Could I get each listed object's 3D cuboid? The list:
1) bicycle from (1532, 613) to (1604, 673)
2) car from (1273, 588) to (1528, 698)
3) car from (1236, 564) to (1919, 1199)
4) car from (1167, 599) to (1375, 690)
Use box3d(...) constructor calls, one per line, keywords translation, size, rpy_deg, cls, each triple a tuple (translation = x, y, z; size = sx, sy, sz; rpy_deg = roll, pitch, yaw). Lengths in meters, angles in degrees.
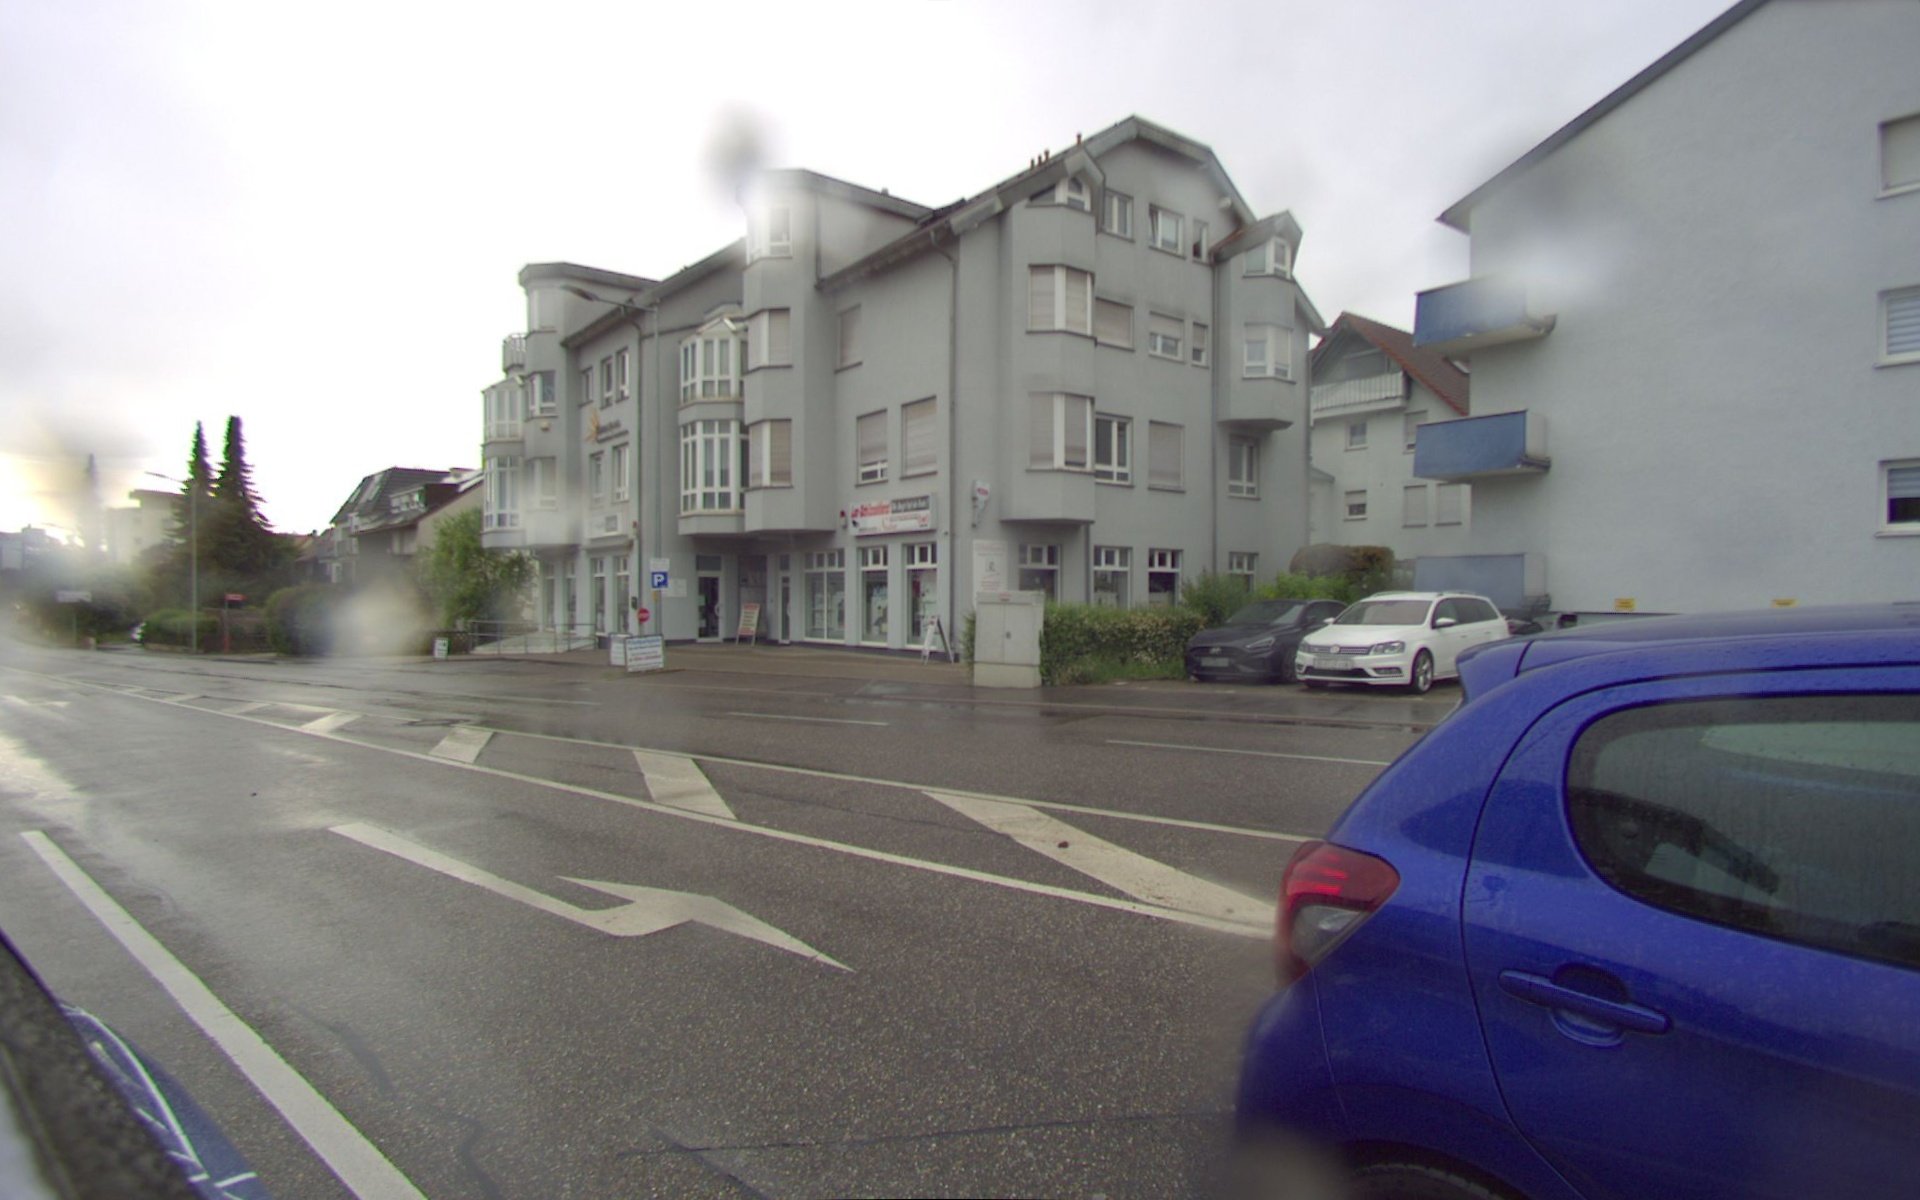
box3d(translation=(11.150, 0.790, 18.570), size=(1.065, 1.061, 0.343), rpy_deg=(-2, -1, 41), cls="bicycle")
box3d(translation=(6.988, 0.602, 15.815), size=(4.685, 1.471, 1.883), rpy_deg=(0, -2, -42), cls="car")
box3d(translation=(2.241, 0.640, 1.206), size=(3.362, 1.423, 1.489), rpy_deg=(-2, -1, 41), cls="car")
box3d(translation=(5.499, 0.688, 17.659), size=(1.851, 1.366, 3.941), rpy_deg=(-1, 0, 45), cls="car")
